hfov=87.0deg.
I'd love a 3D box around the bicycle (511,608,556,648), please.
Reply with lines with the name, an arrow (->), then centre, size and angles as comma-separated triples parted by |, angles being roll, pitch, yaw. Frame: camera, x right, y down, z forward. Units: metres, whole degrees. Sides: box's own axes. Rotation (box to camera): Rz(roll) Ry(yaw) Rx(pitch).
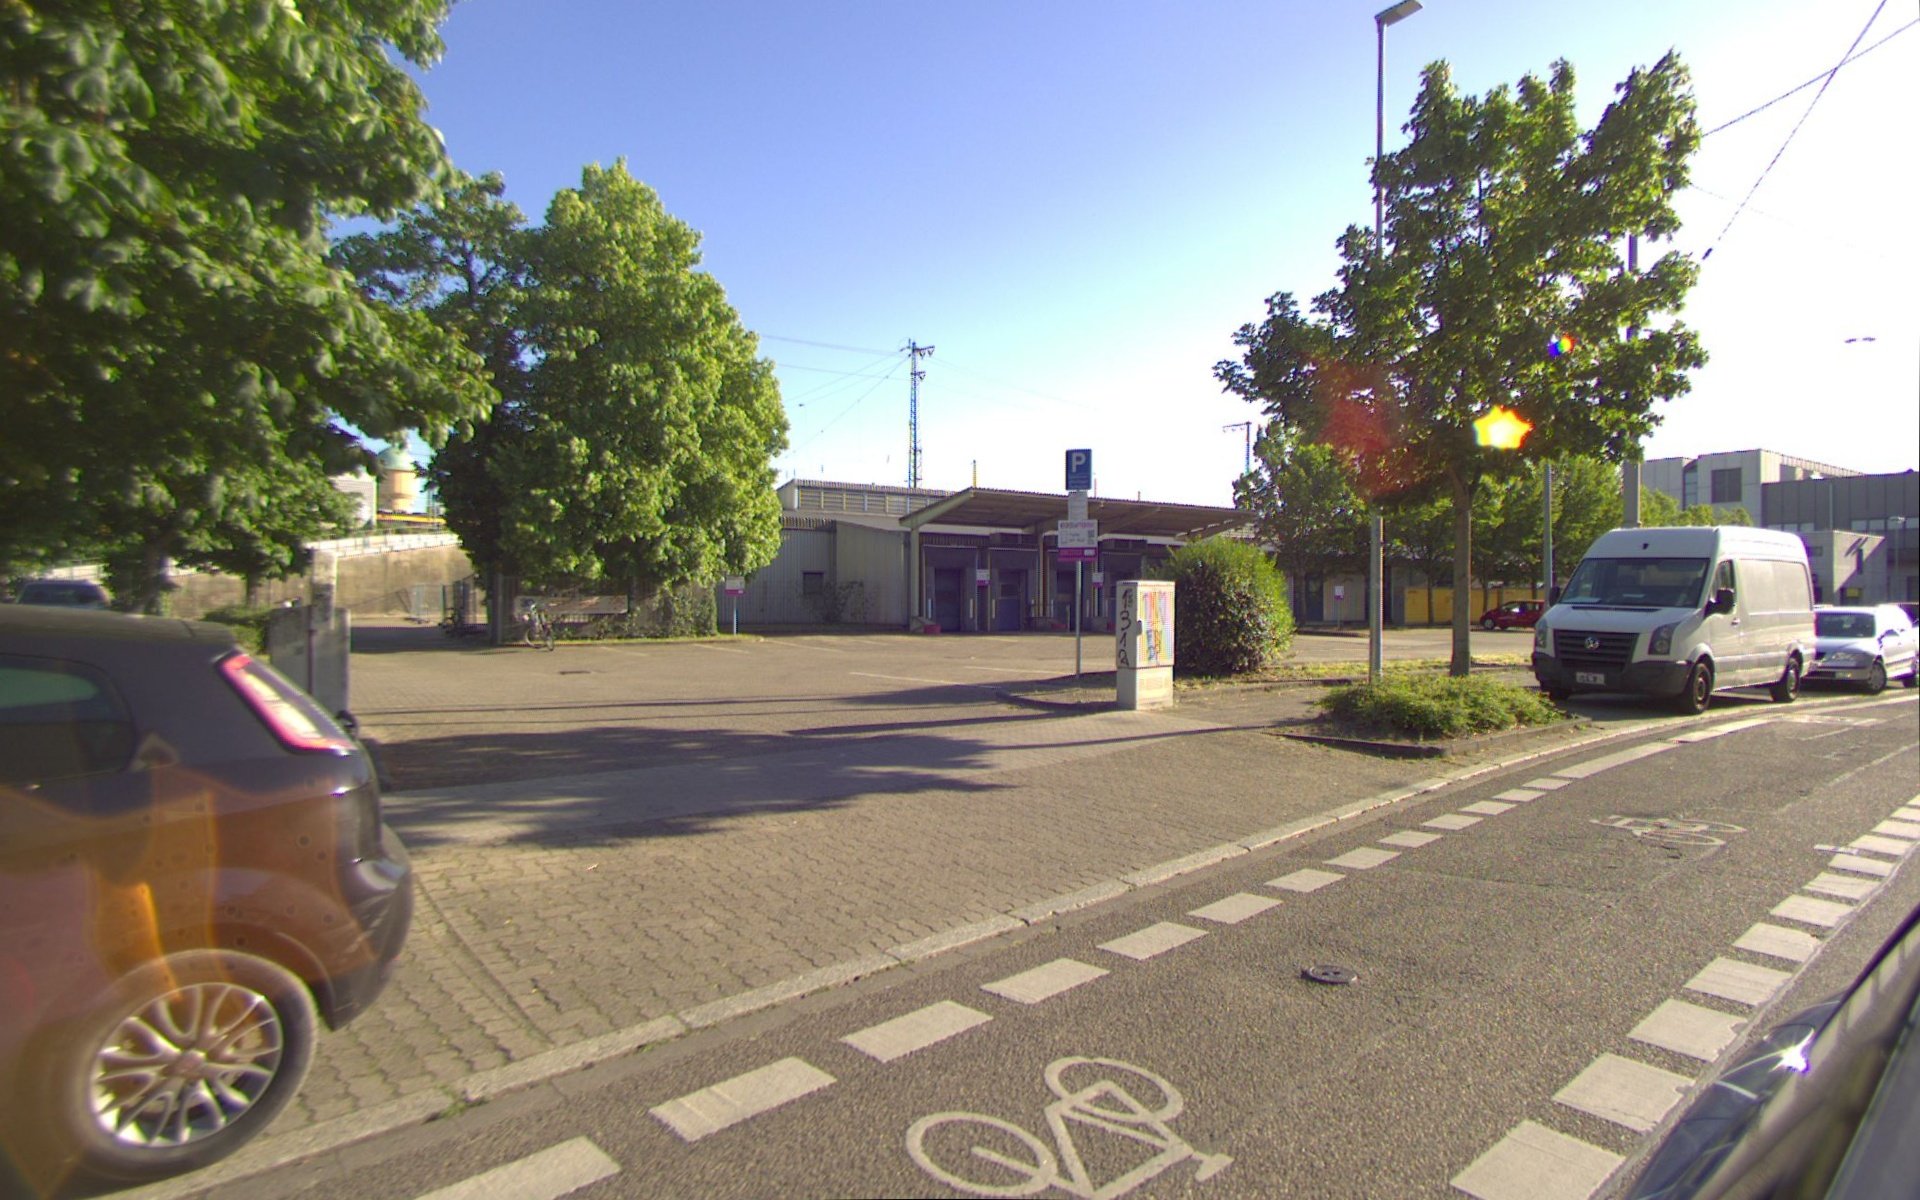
bicycle -> -10.560, 0.684, 25.033 | 0.539, 0.953, 1.842 | 0, -1, -39

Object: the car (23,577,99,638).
car -> -30.734, 0.217, 34.565 | 1.715, 1.946, 4.129 | 0, 0, -45

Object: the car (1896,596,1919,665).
car -> 23.558, 0.694, 23.467 | 4.169, 1.531, 1.734 | 0, 1, -33

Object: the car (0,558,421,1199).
car -> -3.598, 0.660, 2.307 | 3.929, 1.549, 1.692 | 0, 1, -40

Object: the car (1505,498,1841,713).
car -> 10.918, 0.015, 15.309 | 5.975, 2.698, 2.188 | 0, 2, -35

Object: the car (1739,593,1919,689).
car -> 16.382, 0.657, 18.642 | 4.512, 1.549, 1.917 | 0, 1, -34
